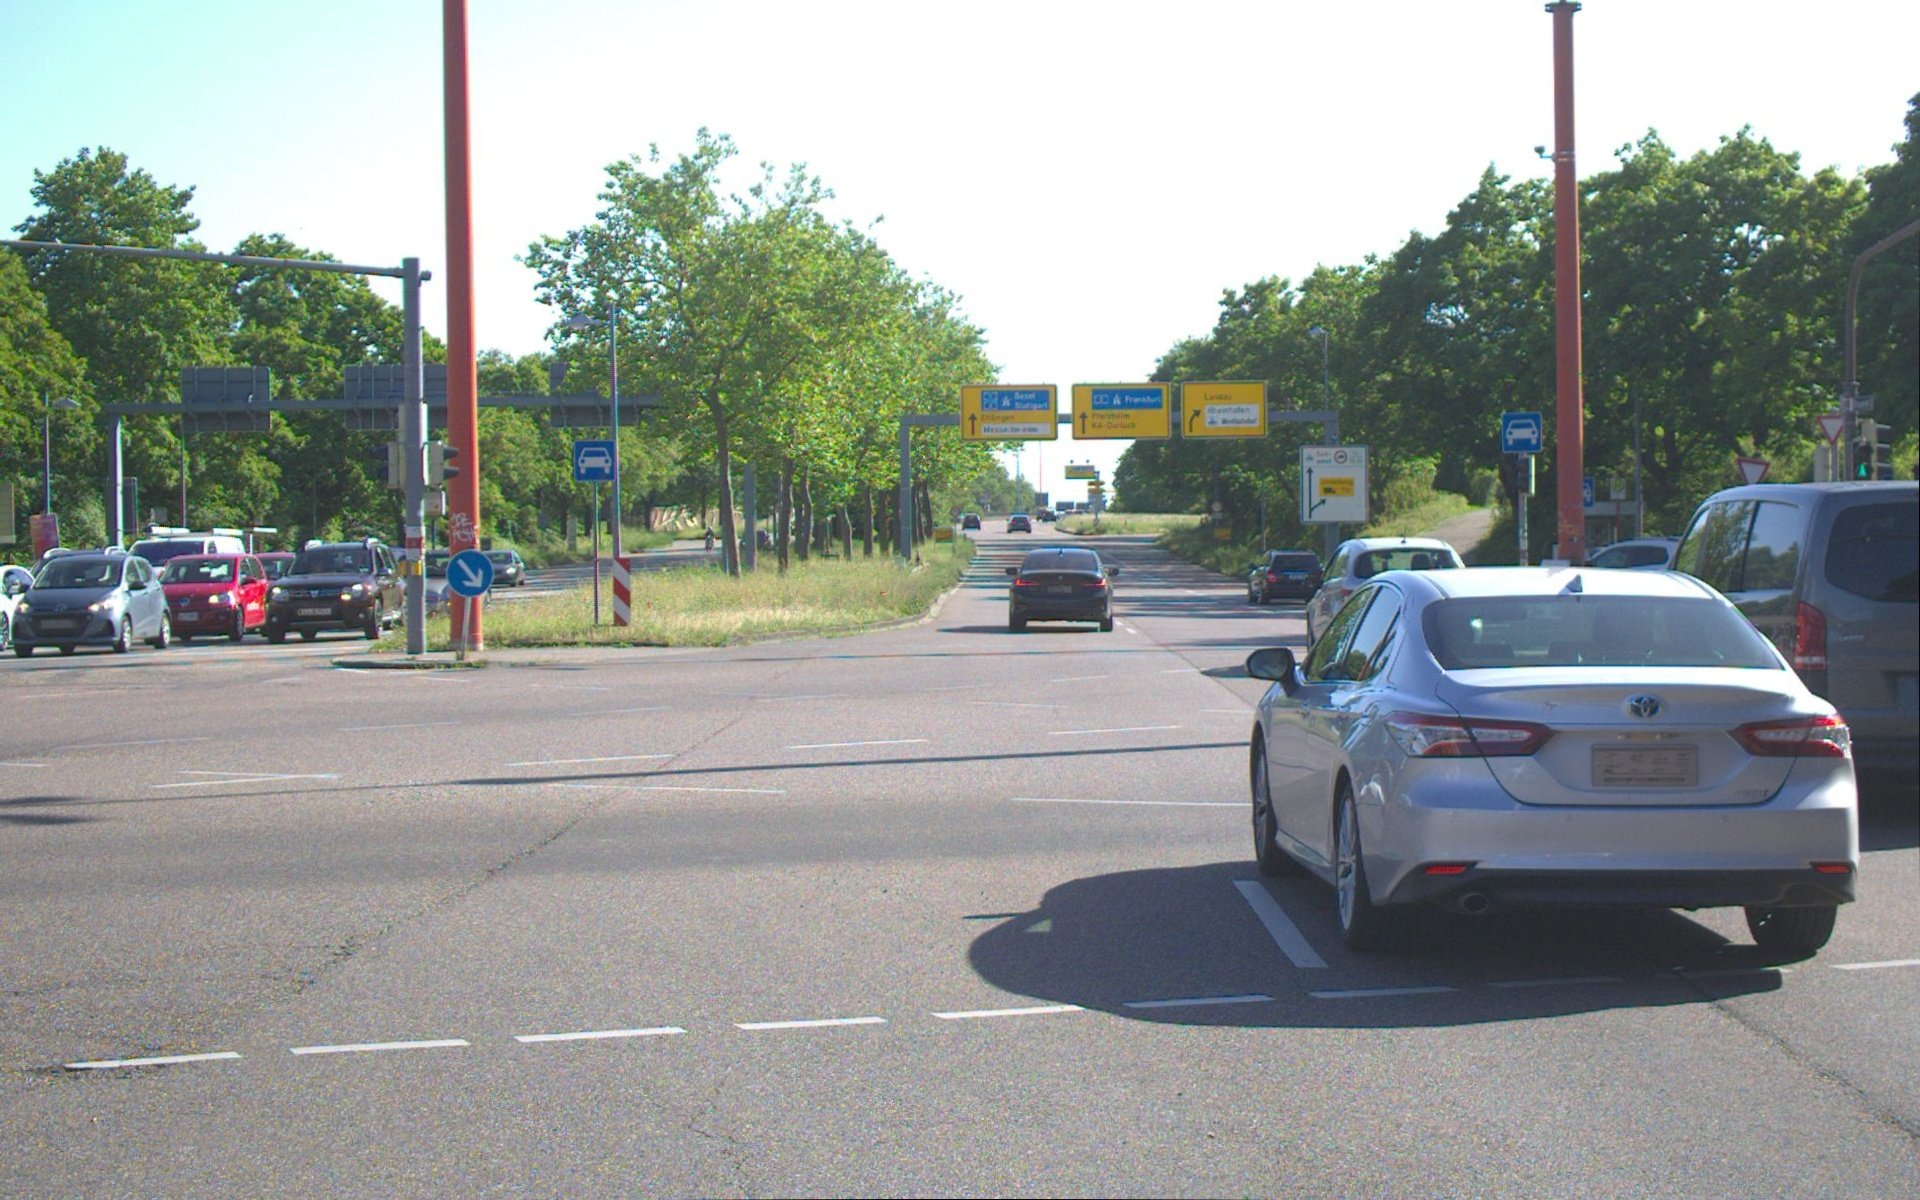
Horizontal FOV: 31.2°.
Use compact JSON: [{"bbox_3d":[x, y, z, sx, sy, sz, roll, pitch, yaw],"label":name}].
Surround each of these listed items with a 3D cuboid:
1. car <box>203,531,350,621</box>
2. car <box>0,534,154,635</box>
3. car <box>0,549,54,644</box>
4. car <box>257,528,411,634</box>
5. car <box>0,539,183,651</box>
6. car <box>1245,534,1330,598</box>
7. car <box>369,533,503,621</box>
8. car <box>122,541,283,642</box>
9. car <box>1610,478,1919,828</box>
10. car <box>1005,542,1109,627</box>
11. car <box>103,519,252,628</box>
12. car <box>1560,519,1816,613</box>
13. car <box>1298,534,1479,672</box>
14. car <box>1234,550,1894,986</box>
[{"bbox_3d":[-12.809,-0.460,64.627,1.901,1.624,4.000,0,1,1],"label":"car"},{"bbox_3d":[-16.402,-0.313,63.774,1.874,1.778,4.000,-1,1,1],"label":"car"},{"bbox_3d":[-16.536,-0.057,57.284,1.901,1.549,4.000,-2,1,-2],"label":"car"},{"bbox_3d":[-10.216,-0.333,56.368,1.793,1.620,4.144,-2,1,-1],"label":"car"},{"bbox_3d":[-13.222,-0.105,52.293,1.874,1.545,4.028,-2,1,-1],"label":"car"},{"bbox_3d":[8.669,-0.900,91.249,1.764,1.630,4.298,1,1,-1],"label":"car"},{"bbox_3d":[-9.693,-0.450,63.847,1.885,1.538,4.000,-2,1,-1],"label":"car"},{"bbox_3d":[-12.870,-0.164,58.631,1.875,1.547,4.000,-4,1,-2],"label":"car"},{"bbox_3d":[5.328,0.225,20.739,1.804,1.845,5.103,-1,1,0],"label":"car"},{"bbox_3d":[1.713,-0.294,61.312,1.764,1.436,4.295,1,1,1],"label":"car"},{"bbox_3d":[-16.071,-0.574,70.831,1.961,2.147,5.082,-1,1,-1],"label":"car"},{"bbox_3d":[13.006,-0.616,61.591,1.764,1.629,4.297,-1,1,-40],"label":"car"},{"bbox_3d":[5.243,0.016,42.445,1.716,1.602,3.847,1,1,0],"label":"car"},{"bbox_3d":[2.280,0.558,14.245,1.804,1.488,4.682,1,1,-1],"label":"car"}]
